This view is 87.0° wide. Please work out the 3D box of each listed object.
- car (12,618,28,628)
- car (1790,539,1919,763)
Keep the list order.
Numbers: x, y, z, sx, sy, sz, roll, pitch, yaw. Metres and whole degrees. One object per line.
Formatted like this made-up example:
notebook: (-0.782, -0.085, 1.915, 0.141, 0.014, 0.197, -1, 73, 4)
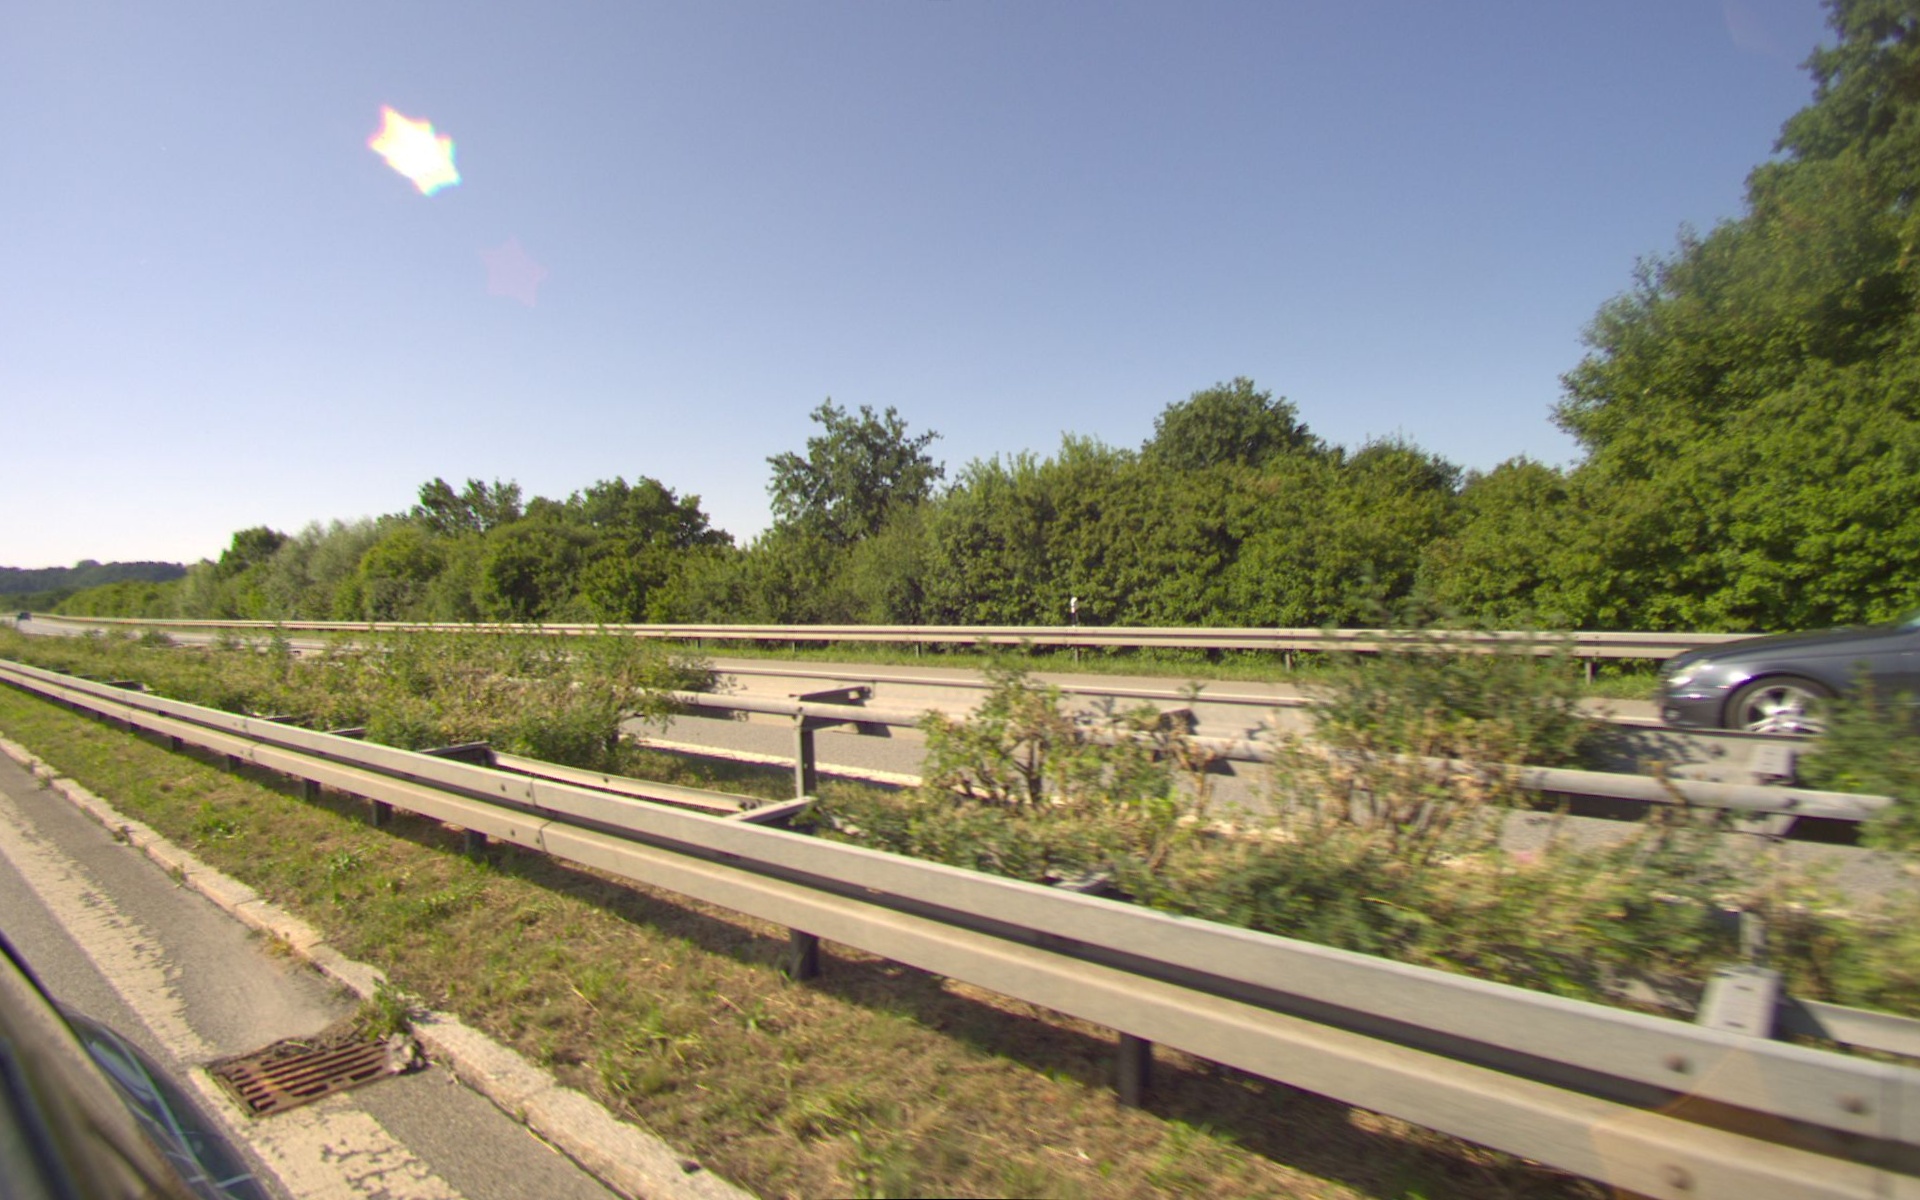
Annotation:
car: (-145.695, 3.580, 156.843, 4.001, 1.452, 1.657, -1, -1, 44)
car: (8.041, 0.302, 6.241, 4.483, 1.443, 1.973, -2, -1, 40)
